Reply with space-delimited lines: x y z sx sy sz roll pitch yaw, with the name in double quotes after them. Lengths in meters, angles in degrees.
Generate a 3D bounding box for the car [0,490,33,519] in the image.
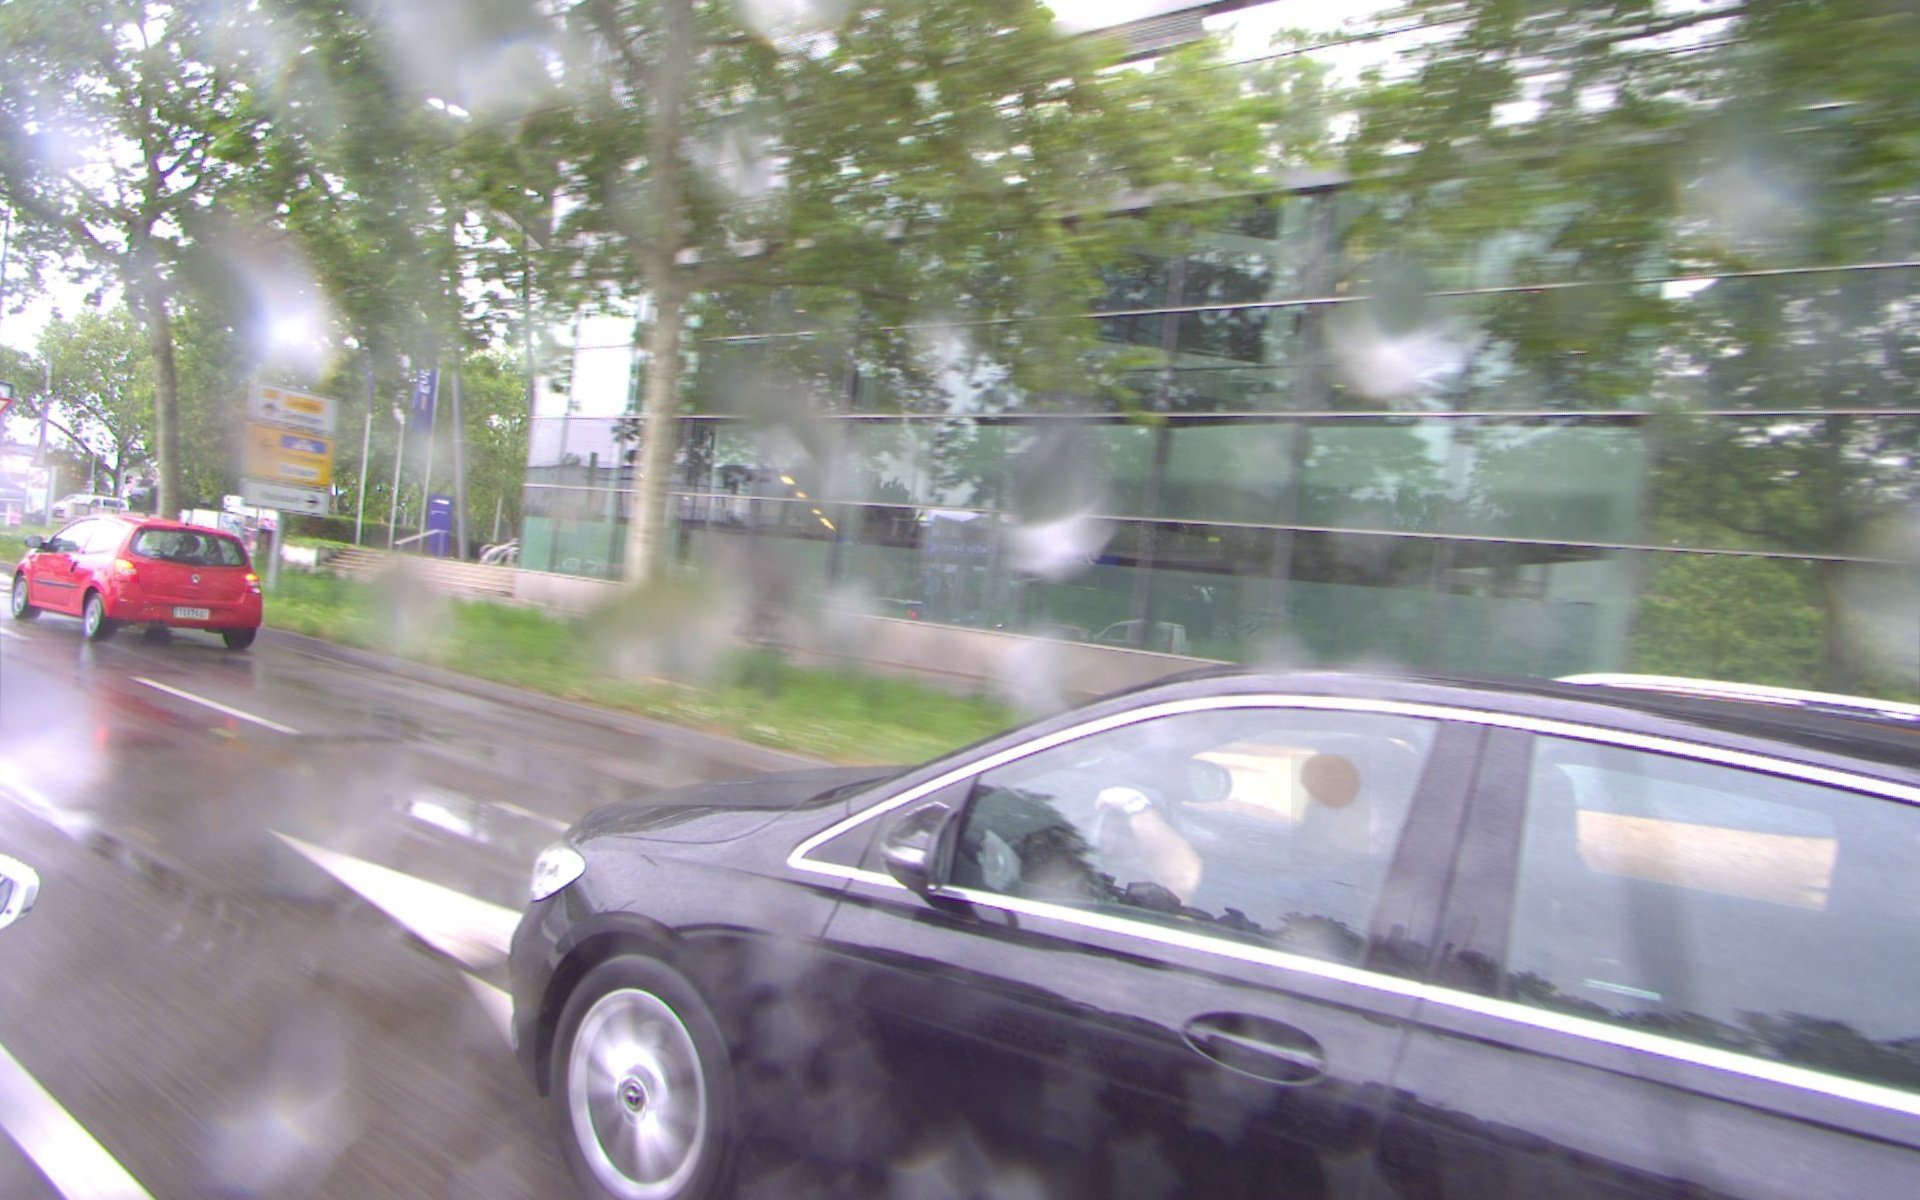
-61.622 -6.234 63.683 1.899 1.671 4.338 6 0 -5 "car"

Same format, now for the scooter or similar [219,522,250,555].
-26.747 -2.258 37.093 0.335 1.153 1.173 6 1 -7 "scooter or similar"

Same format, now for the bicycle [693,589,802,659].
-4.167 0.457 19.656 2.042 1.119 0.743 6 2 30 "bicycle"

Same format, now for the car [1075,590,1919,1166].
2.896 1.053 4.859 4.103 1.652 1.901 7 0 34 "car"

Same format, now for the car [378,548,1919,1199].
0.759 0.896 2.392 4.018 1.542 1.873 7 0 30 "car"

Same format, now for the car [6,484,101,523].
-59.021 -6.260 65.626 2.041 1.872 4.742 6 0 -4 "car"

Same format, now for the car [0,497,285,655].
-10.339 -0.323 12.620 3.561 1.509 1.681 7 -1 32 "car"

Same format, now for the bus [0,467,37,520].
-68.044 -7.702 64.682 3.220 3.309 12.263 7 0 31 "bus"

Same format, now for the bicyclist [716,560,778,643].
-4.155 0.027 19.674 0.739 1.536 0.805 6 3 29 "bicyclist"
